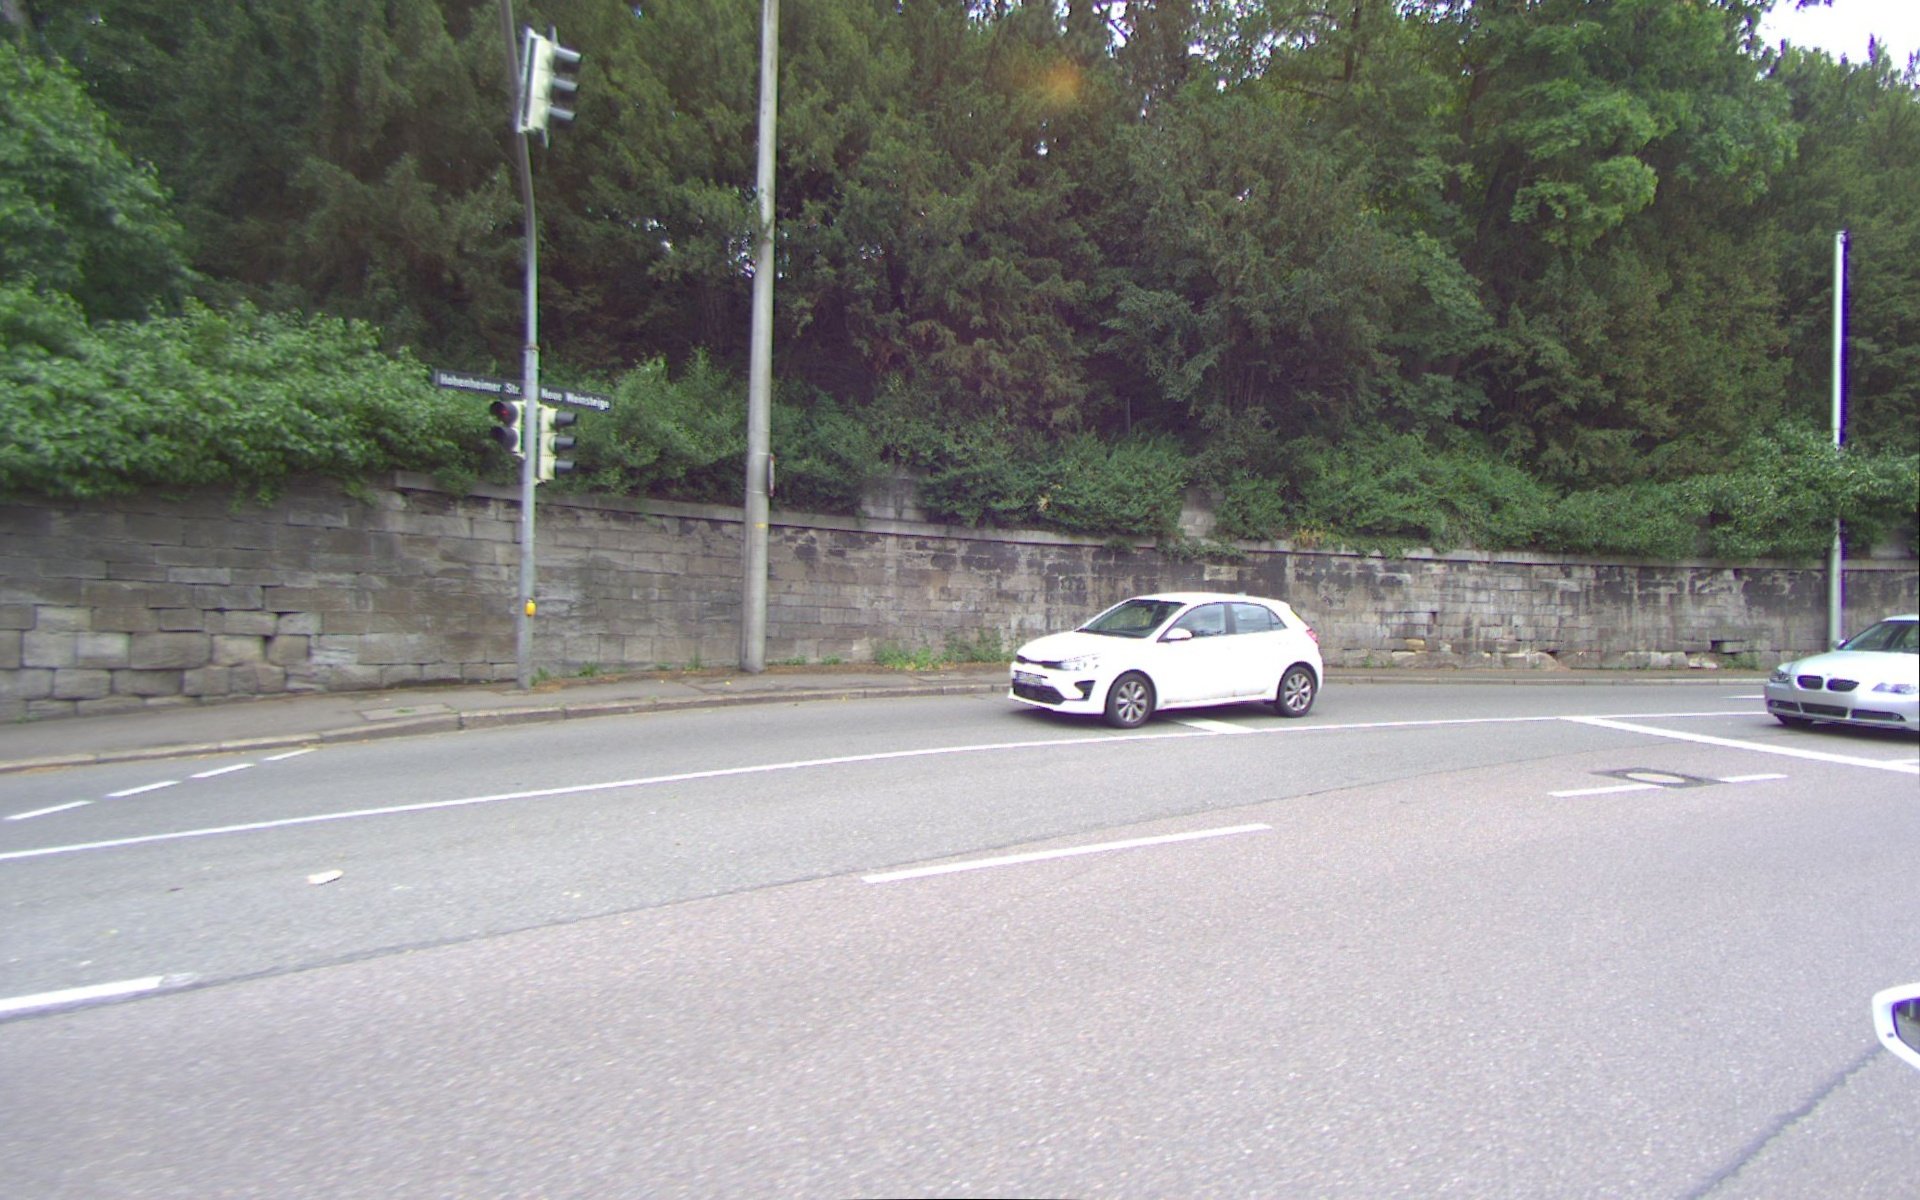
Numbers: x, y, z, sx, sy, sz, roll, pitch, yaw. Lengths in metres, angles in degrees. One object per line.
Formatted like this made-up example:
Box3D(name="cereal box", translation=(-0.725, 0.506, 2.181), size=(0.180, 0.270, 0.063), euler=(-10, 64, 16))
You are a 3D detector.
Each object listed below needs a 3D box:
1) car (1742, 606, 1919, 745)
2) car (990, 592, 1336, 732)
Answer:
Box3D(name="car", translation=(12.285, 0.848, 12.596), size=(4.409, 1.462, 1.754), euler=(0, 2, -19))
Box3D(name="car", translation=(2.508, 0.640, 12.200), size=(4.014, 1.425, 1.631), euler=(0, 2, -29))
